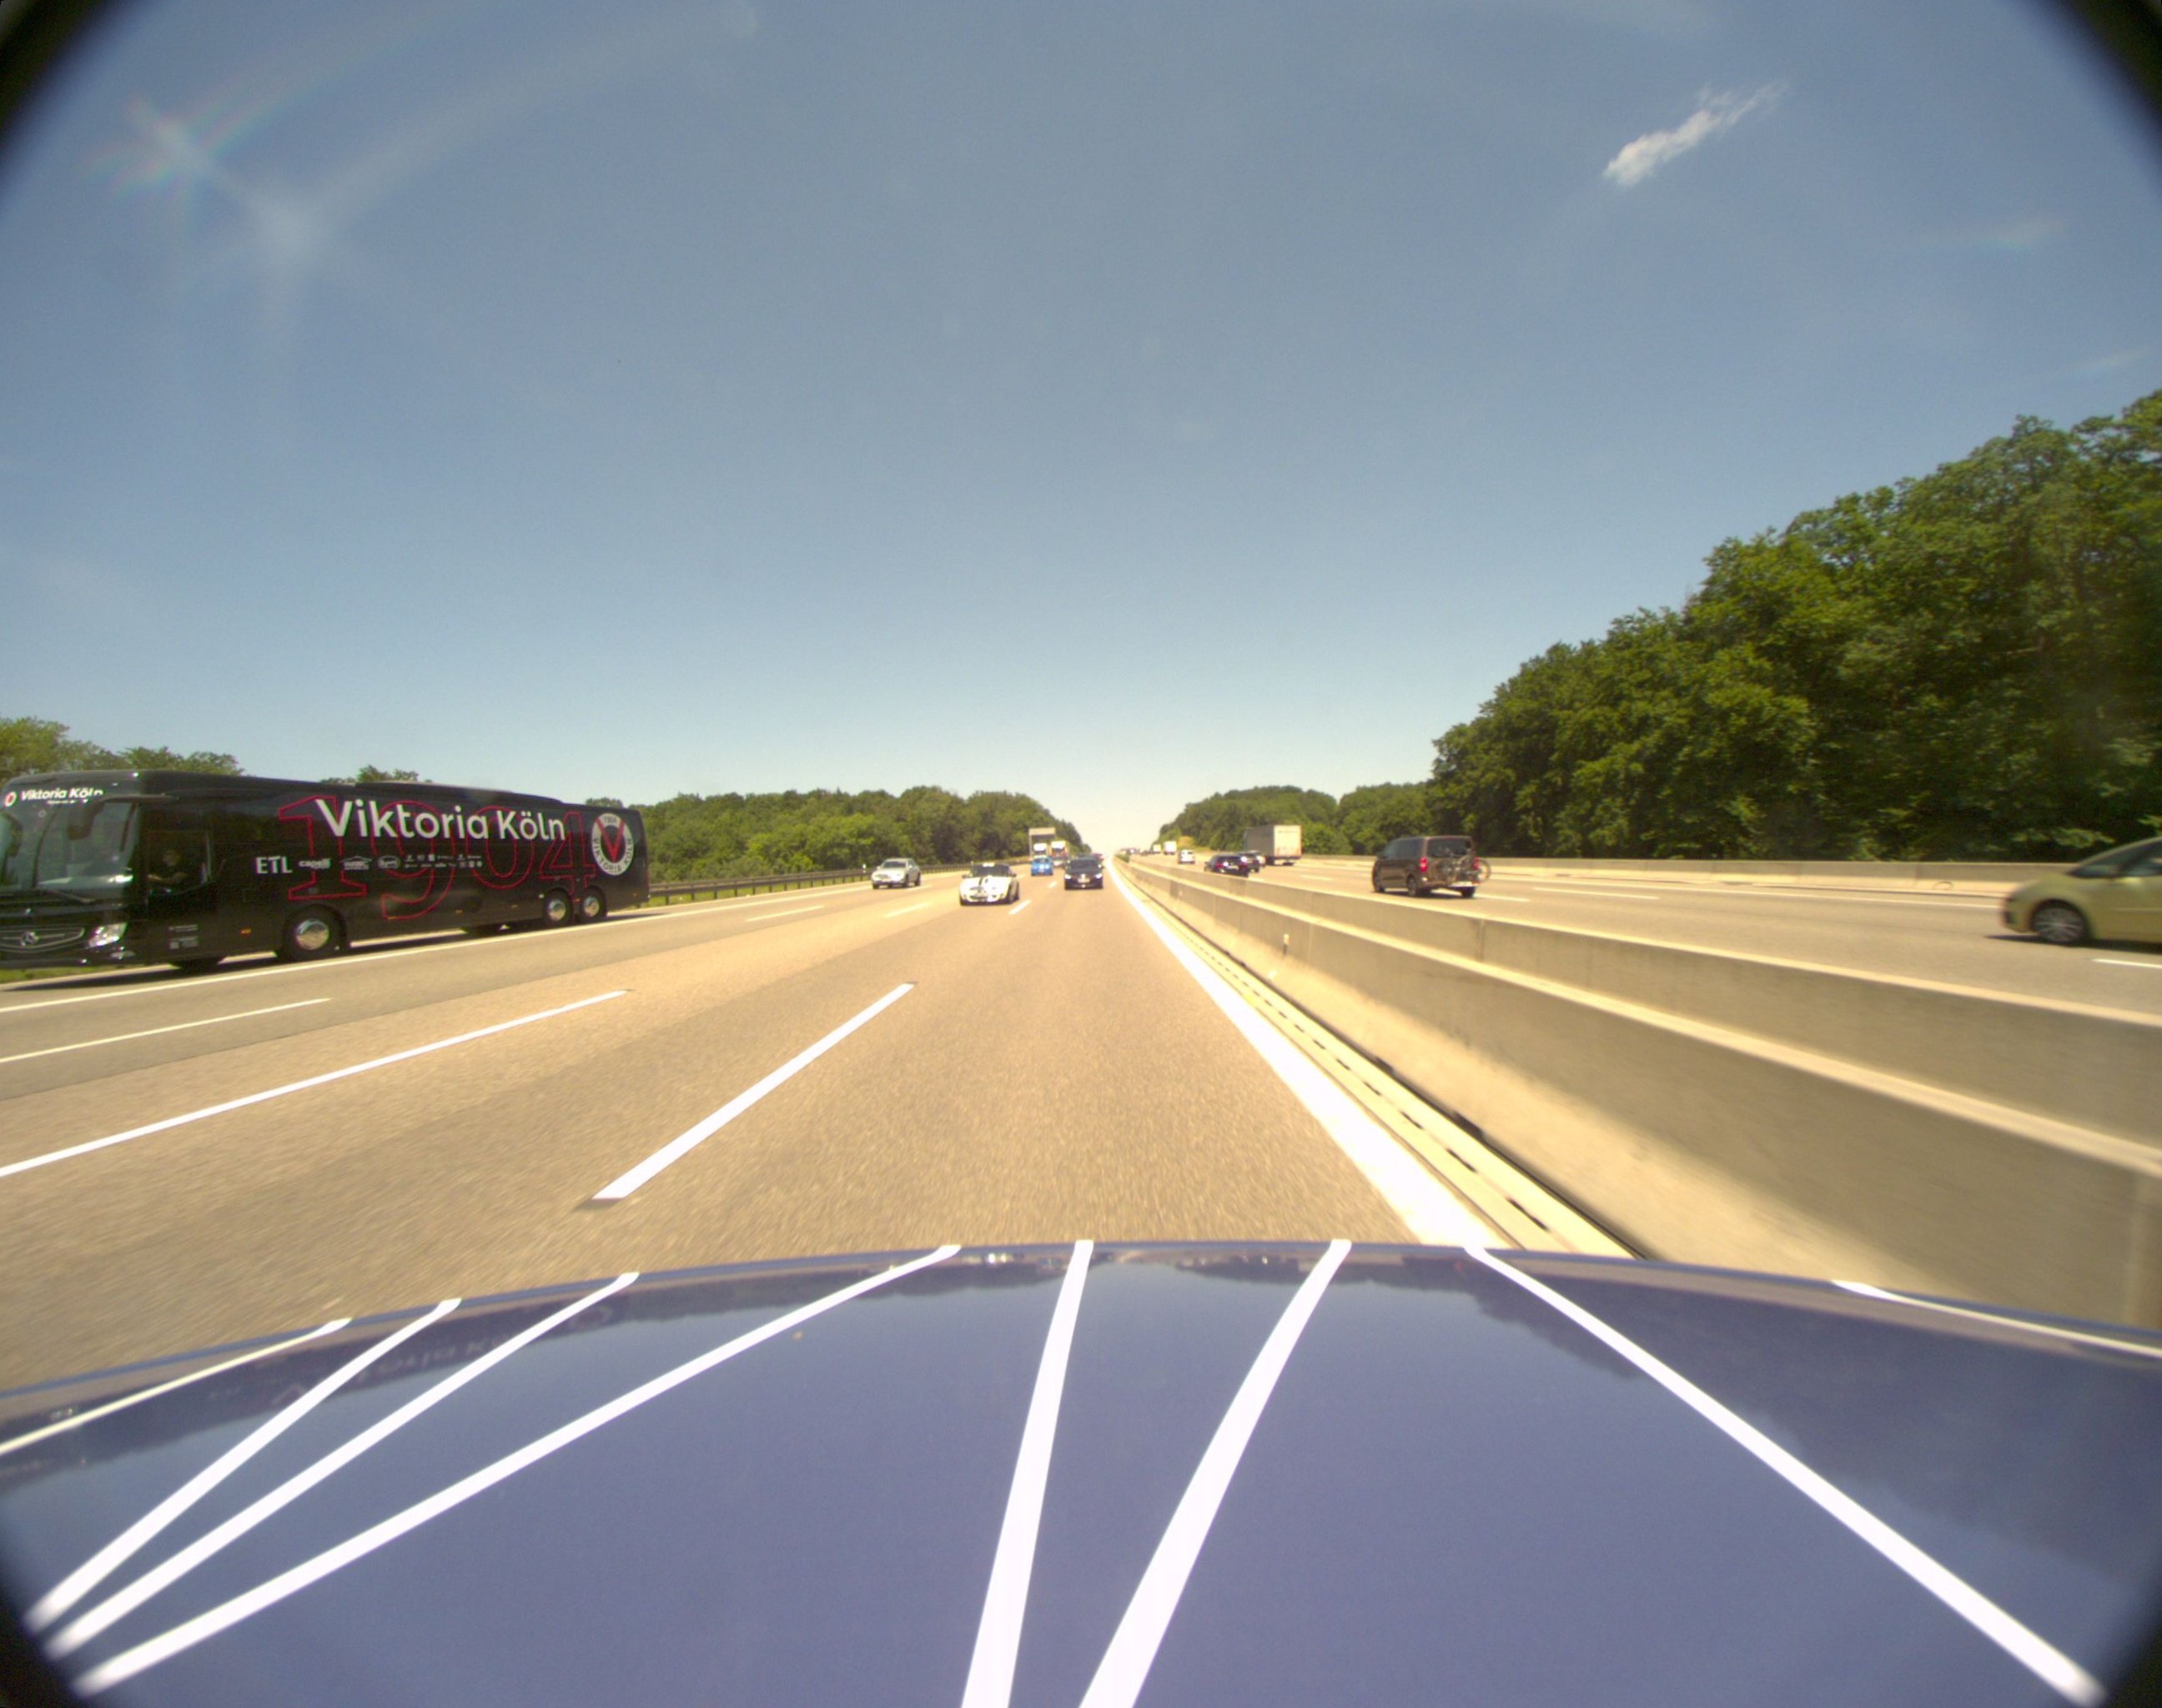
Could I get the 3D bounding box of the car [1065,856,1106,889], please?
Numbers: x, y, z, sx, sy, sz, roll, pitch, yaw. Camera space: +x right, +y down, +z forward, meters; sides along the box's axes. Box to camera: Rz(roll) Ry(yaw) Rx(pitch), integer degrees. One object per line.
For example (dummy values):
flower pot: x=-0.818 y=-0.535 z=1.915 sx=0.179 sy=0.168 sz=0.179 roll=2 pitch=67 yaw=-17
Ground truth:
car: x=0.271 y=0.850 z=35.867 sx=1.777 sy=1.425 sz=4.144 roll=0 pitch=0 yaw=3

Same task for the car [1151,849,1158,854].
car: x=24.306 y=-0.839 z=251.188 sx=1.802 sy=1.633 sz=5.080 roll=0 pitch=0 yaw=2

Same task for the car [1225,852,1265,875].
car: x=11.844 y=0.654 z=55.261 sx=1.877 sy=1.467 sz=5.111 roll=-1 pitch=1 yaw=1

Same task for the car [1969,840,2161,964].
car: x=14.437 y=0.598 z=9.166 sx=1.877 sy=1.526 sz=4.813 roll=-1 pitch=1 yaw=1

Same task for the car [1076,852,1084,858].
car: x=-0.196 y=0.259 z=216.051 sx=1.910 sy=1.503 sz=4.161 roll=-4 pitch=-1 yaw=4

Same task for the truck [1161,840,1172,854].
truck: x=25.912 y=-2.191 z=230.192 sx=2.721 sy=4.076 sz=7.877 roll=-1 pitch=0 yaw=2

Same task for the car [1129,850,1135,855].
car: x=16.155 y=-0.551 z=242.475 sx=1.836 sy=1.559 sz=4.786 roll=-1 pitch=0 yaw=2

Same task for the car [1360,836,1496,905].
car: x=11.045 y=0.449 z=24.746 sx=1.877 sy=1.929 sz=5.774 roll=-1 pitch=1 yaw=1

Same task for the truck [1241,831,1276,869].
truck: x=19.740 y=-0.479 z=84.864 sx=2.664 sy=4.002 sz=5.510 roll=-1 pitch=1 yaw=1

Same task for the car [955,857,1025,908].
car: x=-3.080 y=0.931 z=26.396 sx=1.846 sy=1.543 sz=4.000 roll=-2 pitch=0 yaw=0

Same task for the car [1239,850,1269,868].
car: x=15.571 y=0.440 z=68.571 sx=1.877 sy=1.526 sz=4.136 roll=-1 pitch=1 yaw=1

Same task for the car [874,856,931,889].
car: x=-10.150 y=1.003 z=43.545 sx=1.805 sy=1.721 sz=5.240 roll=-2 pitch=-1 yaw=2

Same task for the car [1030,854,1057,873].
car: x=-2.940 y=0.726 z=60.185 sx=1.741 sy=1.403 sz=4.000 roll=-3 pitch=0 yaw=3

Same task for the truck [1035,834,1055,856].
truck: x=-7.244 y=-1.801 z=155.713 sx=2.728 sy=4.136 sz=10.972 roll=-4 pitch=-1 yaw=3

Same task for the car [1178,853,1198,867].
car: x=12.701 y=0.663 z=90.670 sx=1.836 sy=1.552 sz=4.776 roll=0 pitch=1 yaw=1

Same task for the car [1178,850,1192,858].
car: x=17.754 y=-0.030 z=129.340 sx=1.836 sy=1.293 sz=4.729 roll=-1 pitch=1 yaw=1

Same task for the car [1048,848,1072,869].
car: x=-2.321 y=0.468 z=83.946 sx=1.965 sy=2.041 sz=4.785 roll=-4 pitch=0 yaw=5

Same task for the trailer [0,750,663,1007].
trailer: x=-15.349 y=0.300 z=17.730 sx=2.864 sy=3.666 sz=13.544 roll=-2 pitch=1 yaw=3

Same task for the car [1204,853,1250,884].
car: x=7.490 y=0.723 z=39.337 sx=1.605 sy=1.460 sz=4.505 roll=-1 pitch=1 yaw=1

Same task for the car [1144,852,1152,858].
car: x=18.057 y=0.322 z=205.229 sx=1.771 sy=1.469 sz=4.482 roll=-1 pitch=0 yaw=2

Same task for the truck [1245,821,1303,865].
truck: x=19.622 y=-1.075 z=78.236 sx=2.696 sy=4.002 sz=14.298 roll=-1 pitch=0 yaw=2

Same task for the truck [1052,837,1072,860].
truck: x=-3.534 y=-0.968 z=142.229 sx=3.018 sy=3.957 sz=7.542 roll=-3 pitch=-1 yaw=3

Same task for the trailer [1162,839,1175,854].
trailer: x=25.663 y=-2.179 z=223.084 sx=2.648 sy=4.200 sz=14.362 roll=-1 pitch=0 yaw=2

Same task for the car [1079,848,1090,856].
car: x=0.688 y=-0.330 z=152.664 sx=1.910 sy=1.503 sz=4.161 roll=-4 pitch=-1 yaw=4

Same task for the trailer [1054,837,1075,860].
trailer: x=-3.138 y=-0.897 z=149.565 sx=2.926 sy=4.118 sz=14.854 roll=-2 pitch=-1 yaw=3
